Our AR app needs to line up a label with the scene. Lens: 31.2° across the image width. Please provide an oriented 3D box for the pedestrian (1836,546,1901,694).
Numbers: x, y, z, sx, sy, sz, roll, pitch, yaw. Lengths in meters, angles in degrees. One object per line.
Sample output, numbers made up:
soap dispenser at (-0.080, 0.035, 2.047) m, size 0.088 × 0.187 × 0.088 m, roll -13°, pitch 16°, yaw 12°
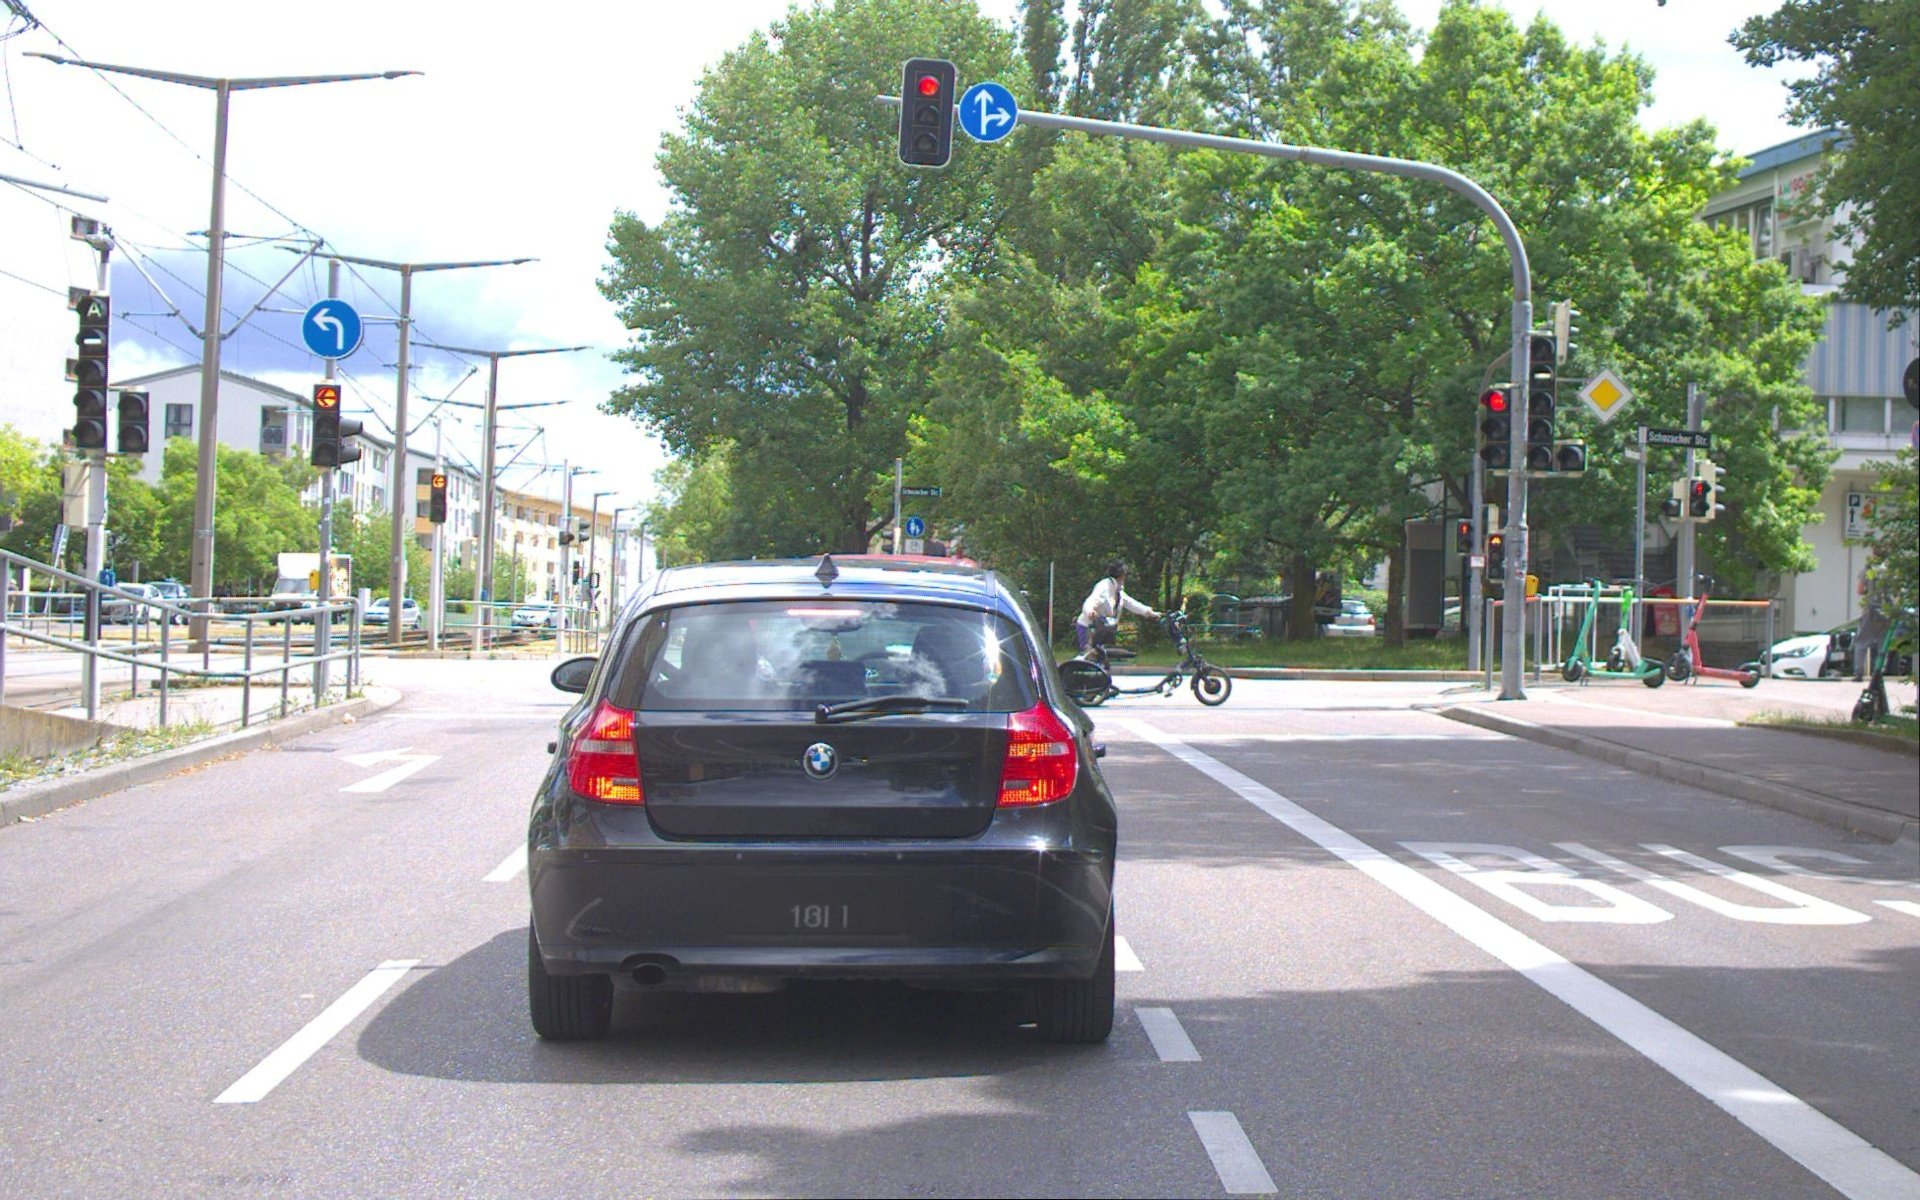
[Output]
pedestrian at (11.285, 0.242, 42.704) m, size 0.614 × 1.784 × 0.568 m, roll 5°, pitch 1°, yaw 18°

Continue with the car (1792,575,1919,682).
car at (14.924, 0.439, 53.209) m, size 3.576 × 1.595 × 1.712 m, roll 1°, pitch 0°, yaw -12°

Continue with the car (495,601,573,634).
car at (-21.781, 0.880, 175.871) m, size 1.970 × 1.590 × 3.993 m, roll 1°, pitch 1°, yaw 30°

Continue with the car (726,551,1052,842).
car at (-0.350, 0.450, 18.729) m, size 1.594 × 1.414 × 3.517 m, roll 1°, pitch 1°, yaw 0°

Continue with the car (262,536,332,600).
car at (-28.383, -1.385, 147.363) m, size 2.139 × 2.631 × 5.359 m, roll 1°, pitch 1°, yaw -2°

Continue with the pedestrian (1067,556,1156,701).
pedestrian at (1.529, 0.278, 34.619) m, size 0.865 × 1.438 × 0.798 m, roll 1°, pitch 1°, yaw 4°

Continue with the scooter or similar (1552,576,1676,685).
scooter or similar at (7.205, 0.333, 37.871) m, size 1.287 × 1.185 × 0.385 m, roll 0°, pitch 1°, yaw -16°

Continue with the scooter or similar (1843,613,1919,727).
scooter or similar at (9.198, 0.678, 33.561) m, size 1.148 × 1.095 × 0.332 m, roll 1°, pitch 1°, yaw -24°

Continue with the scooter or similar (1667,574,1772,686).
scooter or similar at (8.555, 0.340, 38.710) m, size 1.106 × 1.253 × 0.332 m, roll 0°, pitch 1°, yaw -12°

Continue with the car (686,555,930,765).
car at (-1.112, 0.390, 25.333) m, size 1.654 × 1.414 × 3.517 m, roll 1°, pitch 1°, yaw -2°

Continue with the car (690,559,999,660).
car at (-1.827, 0.137, 53.743) m, size 4.571 × 1.521 × 1.945 m, roll 0°, pitch 1°, yaw -11°

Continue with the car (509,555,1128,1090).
car at (-0.351, 0.577, 11.035) m, size 1.654 × 1.414 × 3.517 m, roll 1°, pitch 1°, yaw 1°

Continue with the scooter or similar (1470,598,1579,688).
scooter or similar at (6.041, 0.460, 36.769) m, size 1.119 × 0.954 × 0.300 m, roll 0°, pitch 1°, yaw -16°

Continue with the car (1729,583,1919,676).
car at (15.275, 0.480, 56.688) m, size 4.638 × 1.475 × 2.000 m, roll 0°, pitch 1°, yaw -7°

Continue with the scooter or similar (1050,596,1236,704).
scooter or similar at (1.814, 0.495, 34.139) m, size 1.780 × 1.047 × 0.410 m, roll 0°, pitch 1°, yaw -7°
